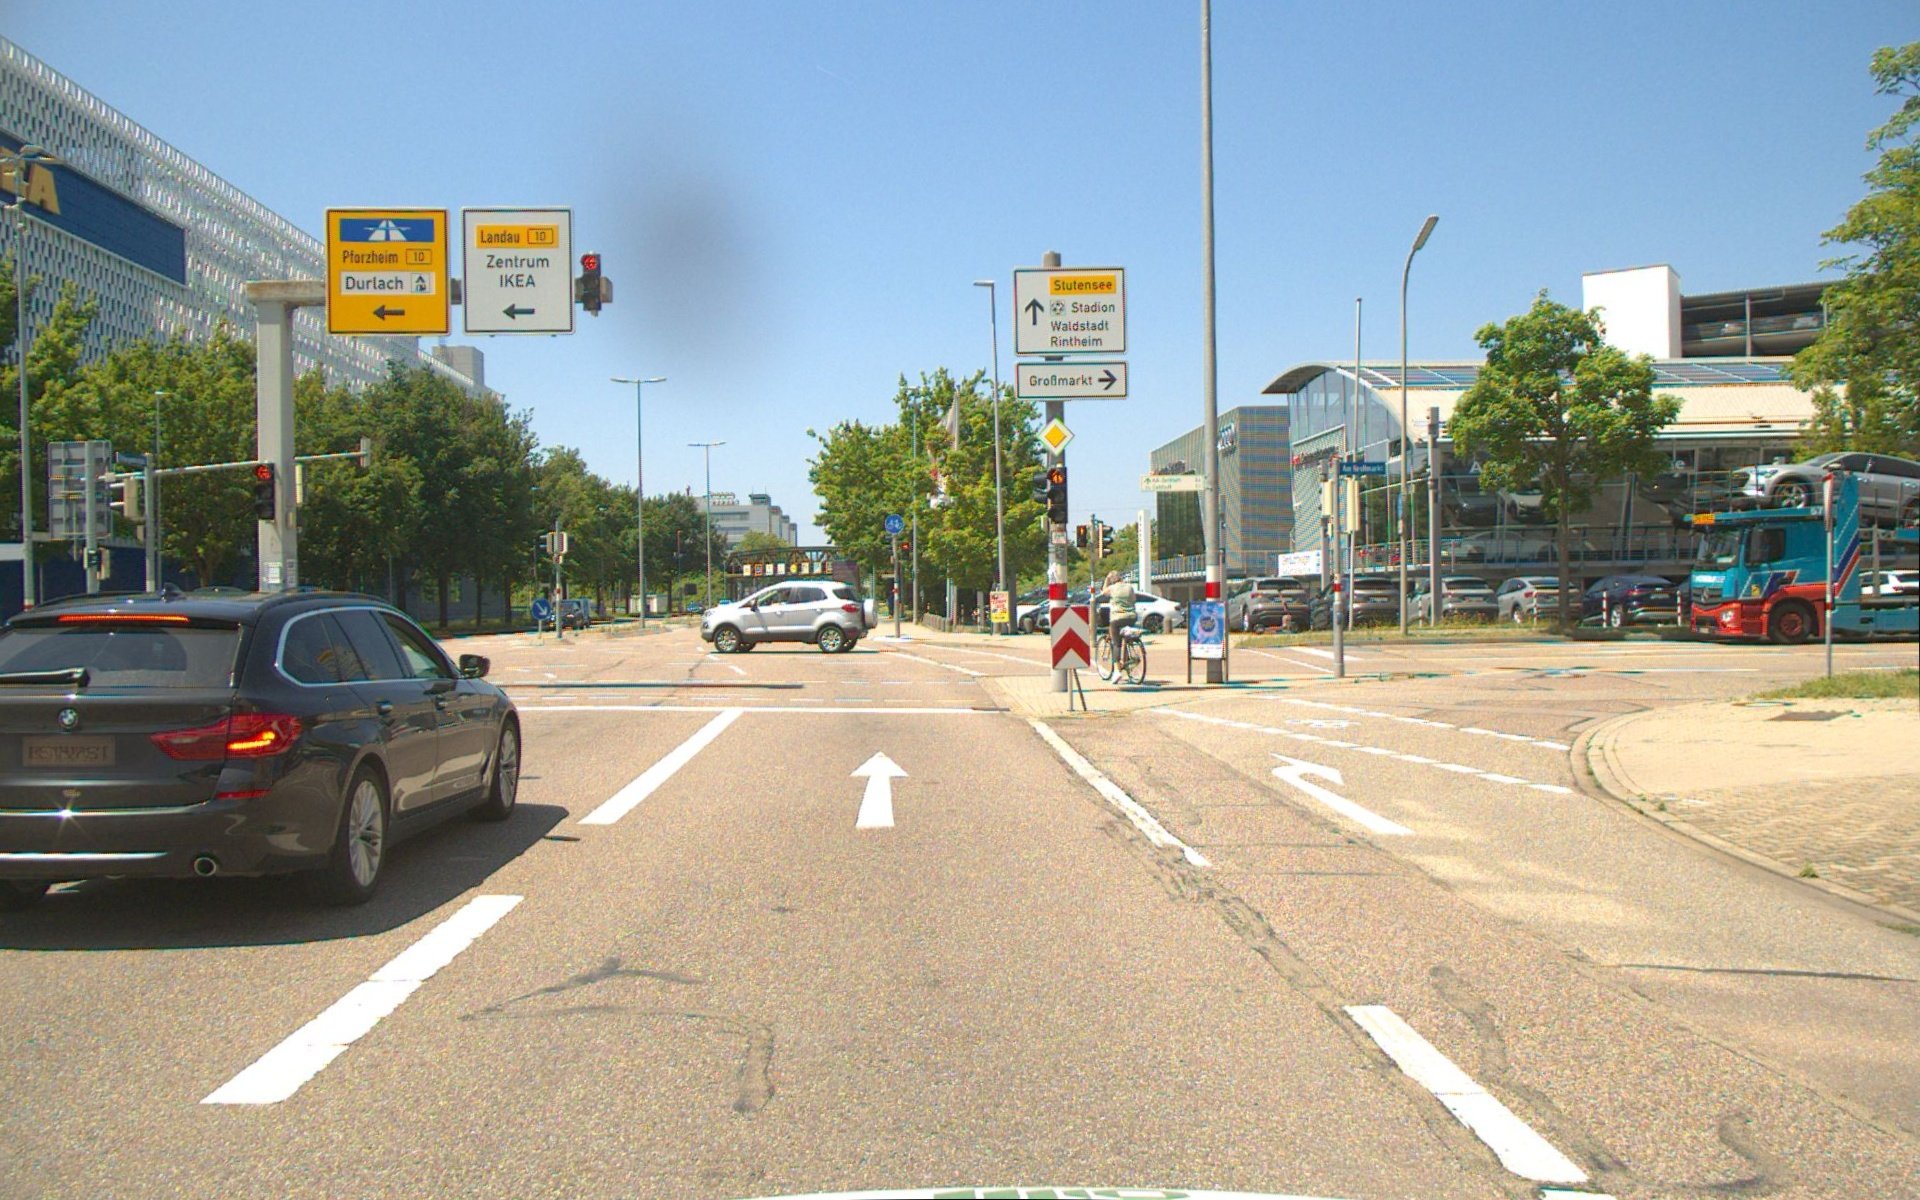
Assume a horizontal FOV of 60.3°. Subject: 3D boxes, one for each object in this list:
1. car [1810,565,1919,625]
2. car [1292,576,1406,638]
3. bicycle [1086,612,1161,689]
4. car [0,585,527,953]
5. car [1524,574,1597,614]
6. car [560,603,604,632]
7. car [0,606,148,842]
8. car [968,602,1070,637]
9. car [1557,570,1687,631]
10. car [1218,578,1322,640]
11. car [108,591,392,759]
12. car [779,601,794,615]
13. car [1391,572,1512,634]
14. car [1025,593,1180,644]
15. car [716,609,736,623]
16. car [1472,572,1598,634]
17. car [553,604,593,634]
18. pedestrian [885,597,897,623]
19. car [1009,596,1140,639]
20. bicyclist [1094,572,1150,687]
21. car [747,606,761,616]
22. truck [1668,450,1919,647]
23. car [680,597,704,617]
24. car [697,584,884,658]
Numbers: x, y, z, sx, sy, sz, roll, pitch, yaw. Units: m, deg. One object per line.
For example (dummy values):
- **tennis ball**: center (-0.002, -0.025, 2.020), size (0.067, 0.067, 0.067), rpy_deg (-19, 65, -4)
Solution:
- **car**: center (27.417, -0.173, 49.177), size (1.791, 1.668, 4.471), rpy_deg (-1, 1, -4)
- **car**: center (11.195, 0.158, 47.904), size (1.954, 1.668, 4.554), rpy_deg (-1, 1, -4)
- **bicycle**: center (2.568, 0.777, 26.169), size (0.771, 1.147, 1.918), rpy_deg (0, 1, -7)
- **car**: center (-3.703, 0.672, 9.033), size (1.764, 1.491, 4.619), rpy_deg (0, 0, -4)
- **car**: center (31.723, -0.301, 87.522), size (1.957, 2.049, 3.992), rpy_deg (-1, 0, -9)
- **car**: center (-22.624, 1.031, 99.136), size (1.838, 1.626, 4.493), rpy_deg (-1, 0, -4)
- **car**: center (-6.633, 0.750, 9.590), size (1.713, 1.414, 4.531), rpy_deg (0, 0, -2)
- **car**: center (2.798, 0.936, 79.158), size (4.649, 1.482, 1.998), rpy_deg (-2, 1, -5)
- **car**: center (19.327, -0.015, 48.513), size (1.791, 1.668, 4.471), rpy_deg (-1, 1, -4)
- **car**: center (8.886, 0.226, 47.765), size (1.954, 1.668, 4.265), rpy_deg (-1, 1, -4)
- **car**: center (-7.169, 0.674, 17.125), size (1.764, 1.520, 3.991), rpy_deg (0, 0, -9)
- **car**: center (-23.861, 1.095, 227.509), size (1.737, 1.758, 3.997), rpy_deg (-1, 0, -4)
- **car**: center (14.208, 0.051, 48.090), size (1.954, 1.668, 4.438), rpy_deg (-1, 1, -4)
- **car**: center (4.413, 0.554, 51.821), size (4.646, 1.482, 1.999), rpy_deg (-1, 1, -2)
- **car**: center (-28.745, 1.930, 203.564), size (1.887, 1.694, 4.088), rpy_deg (-1, 0, -1)
- **car**: center (16.649, 0.059, 48.148), size (1.848, 1.668, 4.521), rpy_deg (-1, 1, -4)
- **car**: center (-27.155, 1.311, 116.198), size (1.954, 2.043, 4.761), rpy_deg (-1, 0, -3)
- **pedestrian**: center (-4.170, 0.622, 99.561), size (0.654, 1.537, 0.735), rpy_deg (-1, 0, -4)
- **car**: center (4.278, 0.634, 62.349), size (4.649, 1.482, 1.998), rpy_deg (-1, 1, -5)
- **bicyclist**: center (2.551, 0.461, 26.088), size (0.720, 1.779, 0.752), rpy_deg (0, 0, -8)
- **car**: center (-29.397, 1.582, 236.574), size (1.698, 1.452, 3.703), rpy_deg (-3, 0, -4)
- **truck**: center (21.684, -1.167, 36.892), size (10.398, 4.154, 3.101), rpy_deg (-1, 0, 1)
- **car**: center (-28.924, 0.802, 178.791), size (1.953, 2.049, 3.999), rpy_deg (-1, -2, 0)
- **car**: center (-3.977, 0.480, 39.127), size (4.106, 1.680, 1.716), rpy_deg (0, 0, 7)
